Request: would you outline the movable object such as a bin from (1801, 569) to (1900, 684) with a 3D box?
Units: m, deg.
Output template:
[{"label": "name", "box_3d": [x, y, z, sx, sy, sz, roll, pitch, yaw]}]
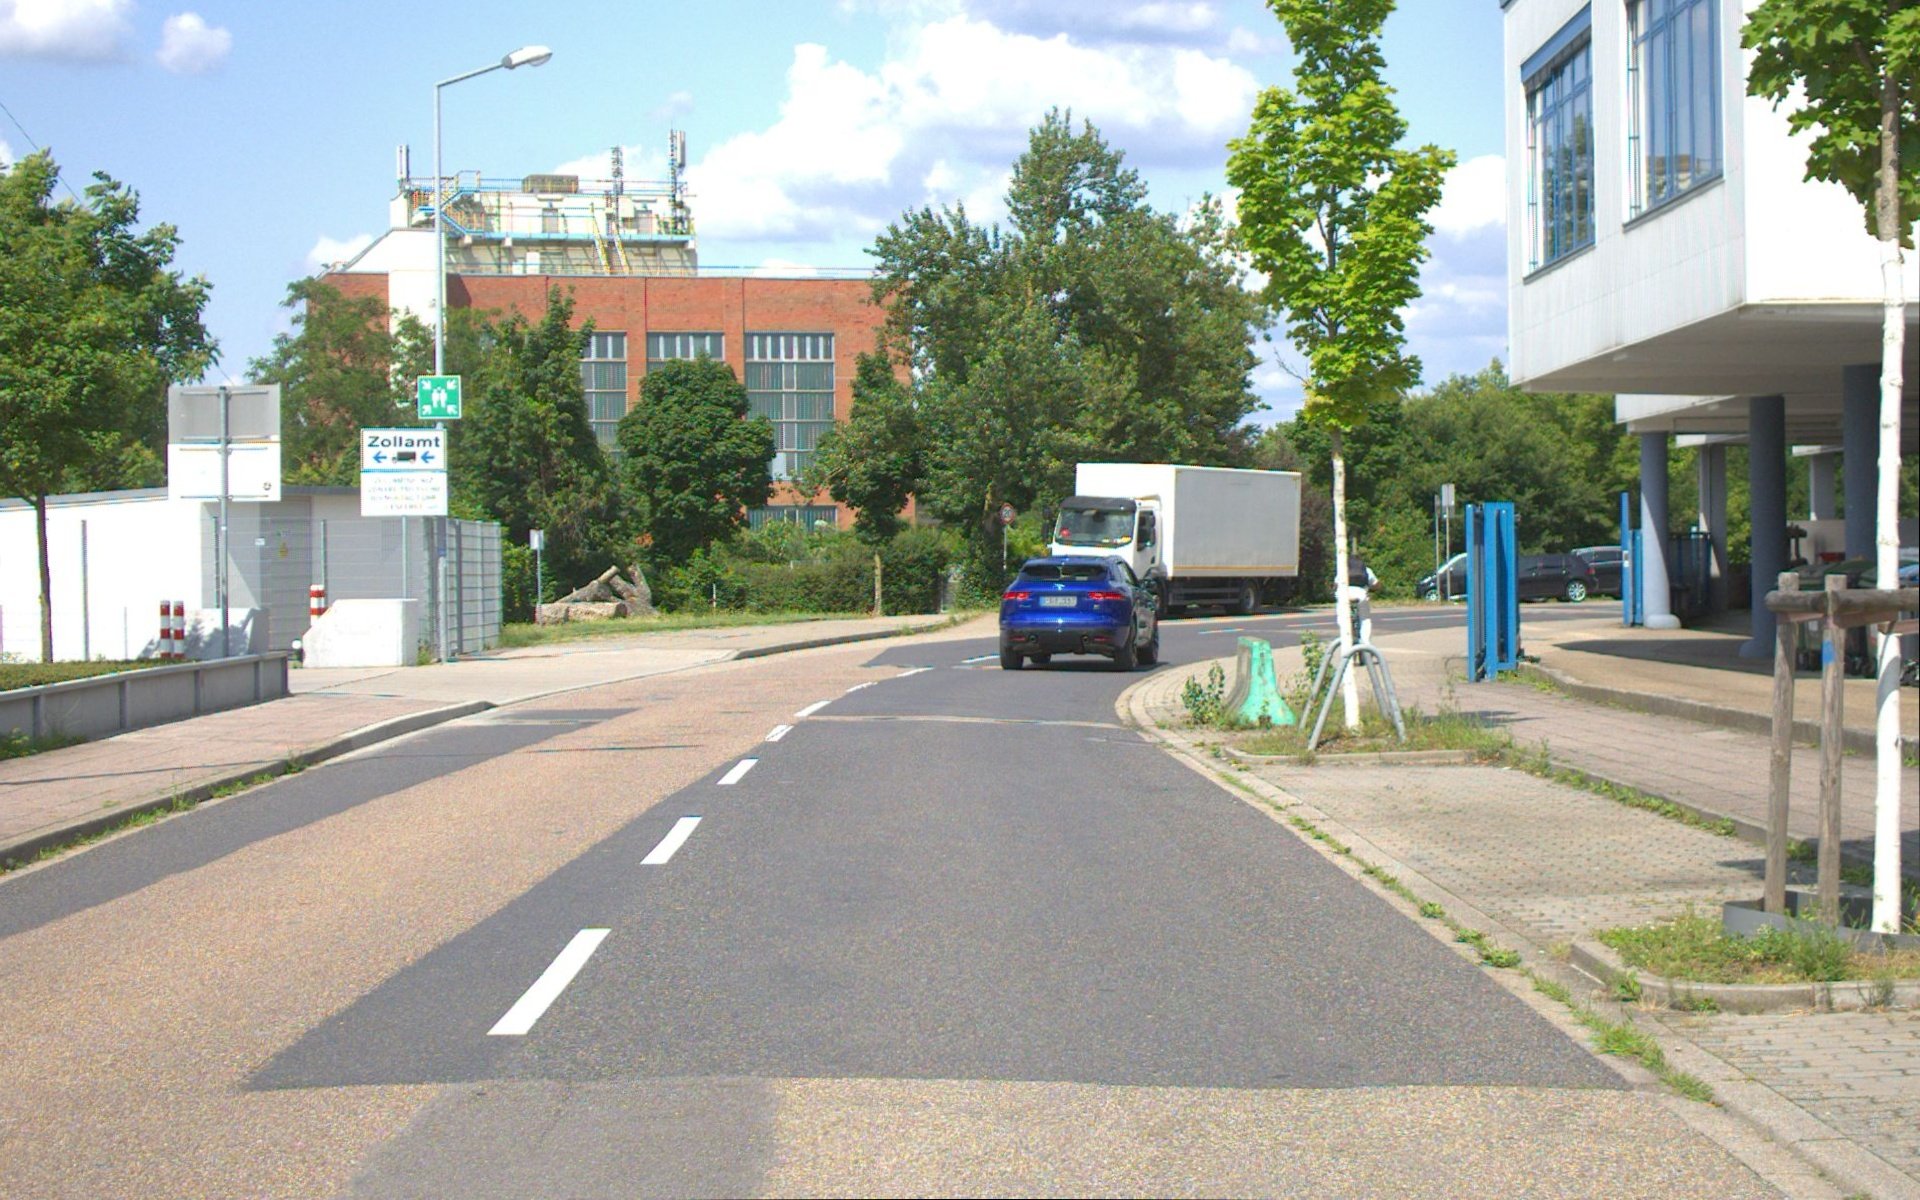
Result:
[{"label": "movable object such as a bin", "box_3d": [11.257, 0.335, 43.487, 0.804, 1.409, 1.405, 1, 0, -3]}]

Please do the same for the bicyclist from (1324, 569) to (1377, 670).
[{"label": "bicyclist", "box_3d": [5.478, 0.272, 48.180, 0.663, 1.393, 0.858, 0, 0, 11]}]

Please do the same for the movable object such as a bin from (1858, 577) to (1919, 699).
[{"label": "movable object such as a bin", "box_3d": [11.162, 0.446, 40.463, 0.804, 1.409, 1.175, 1, 0, -3]}]

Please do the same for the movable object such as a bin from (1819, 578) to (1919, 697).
[{"label": "movable object such as a bin", "box_3d": [11.096, 0.450, 41.913, 0.804, 1.409, 1.427, 1, 0, -3]}]

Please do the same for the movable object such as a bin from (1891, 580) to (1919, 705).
[{"label": "movable object such as a bin", "box_3d": [11.211, 0.491, 39.143, 0.804, 1.409, 1.358, 1, 0, -1]}]

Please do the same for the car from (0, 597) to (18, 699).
[{"label": "car", "box_3d": [-14.945, 0.644, 47.030, 3.994, 1.373, 1.800, 0, 0, 34]}]

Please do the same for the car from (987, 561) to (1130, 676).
[{"label": "car", "box_3d": [1.500, 0.265, 50.690, 1.910, 1.588, 4.700, 1, 0, 4]}]

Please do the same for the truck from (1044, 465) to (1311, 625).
[{"label": "truck", "box_3d": [5.284, -1.293, 81.434, 2.325, 3.555, 9.351, 2, 1, 30]}]

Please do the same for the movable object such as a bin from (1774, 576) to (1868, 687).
[{"label": "movable object such as a bin", "box_3d": [11.237, 0.406, 44.899, 0.804, 1.409, 1.358, 1, 0, -3]}]

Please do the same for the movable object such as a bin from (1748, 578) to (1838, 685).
[{"label": "movable object such as a bin", "box_3d": [11.233, 0.425, 46.378, 0.804, 1.409, 1.358, 1, 0, -3]}]

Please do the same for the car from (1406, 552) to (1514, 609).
[{"label": "car", "box_3d": [14.284, -0.542, 98.373, 2.898, 1.564, 1.889, 1, -1, 4]}]

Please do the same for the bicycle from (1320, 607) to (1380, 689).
[{"label": "bicycle", "box_3d": [5.447, 0.660, 47.947, 0.667, 1.105, 2.166, 0, 0, 11]}]
